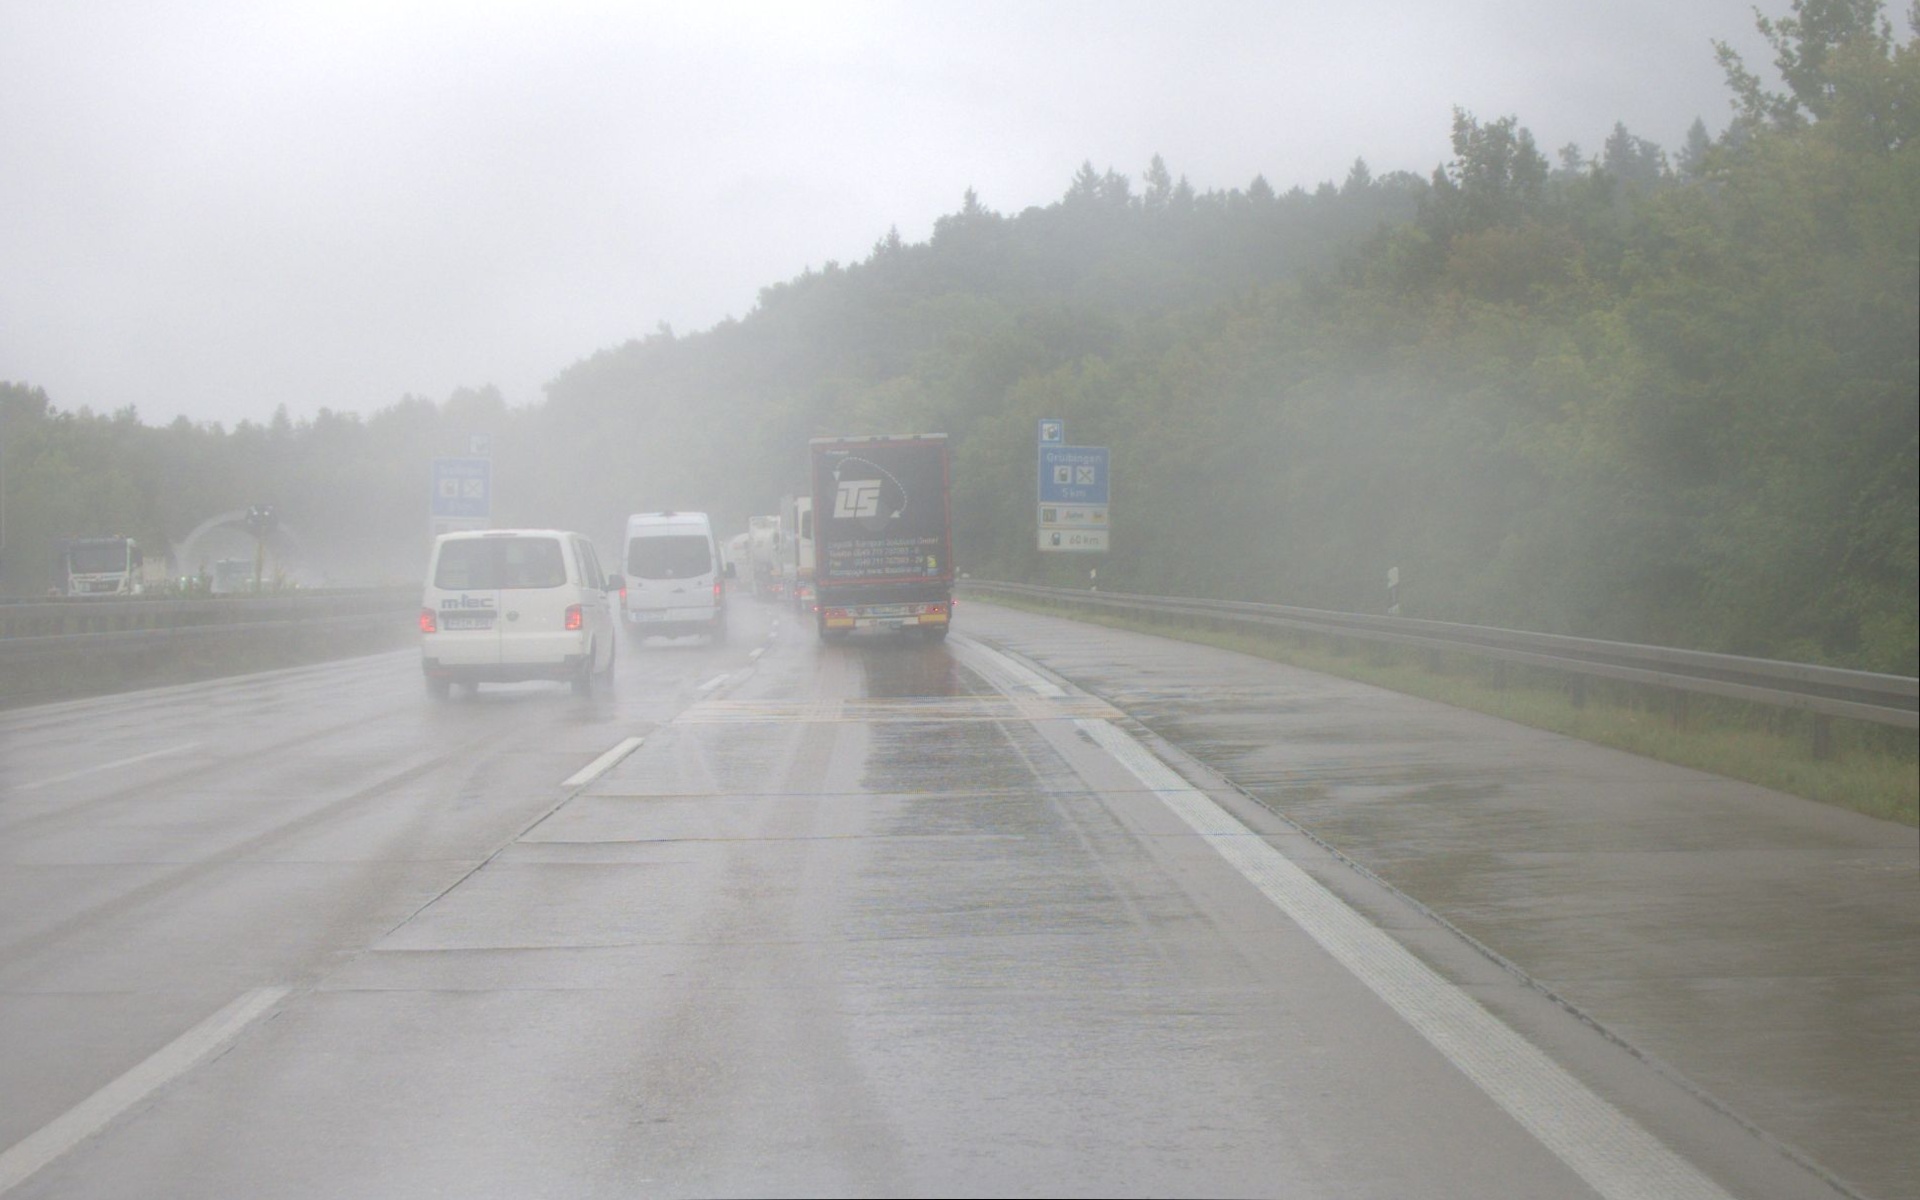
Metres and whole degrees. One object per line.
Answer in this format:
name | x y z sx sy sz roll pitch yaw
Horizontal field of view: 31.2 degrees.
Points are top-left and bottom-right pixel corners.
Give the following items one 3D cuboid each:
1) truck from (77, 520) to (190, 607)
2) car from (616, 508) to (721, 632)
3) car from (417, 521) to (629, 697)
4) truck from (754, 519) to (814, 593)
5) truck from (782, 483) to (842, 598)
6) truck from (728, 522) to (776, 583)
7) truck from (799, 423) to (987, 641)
truck | -29.672 -1.338 123.755 2.297 3.008 7.923 1 1 -1
car | -5.759 -0.601 67.418 1.899 2.326 5.252 1 1 -6
car | -5.000 0.076 39.953 1.899 1.888 5.043 1 0 -1
truck | -7.762 -1.942 151.122 1.993 3.159 6.735 0 1 -8
truck | -5.057 -1.994 116.819 1.993 3.793 6.734 0 1 -3
truck | -11.082 -2.524 182.544 1.993 3.159 6.735 0 1 -8
truck | -1.370 -1.452 68.256 3.385 3.954 8.668 -2 2 -2
